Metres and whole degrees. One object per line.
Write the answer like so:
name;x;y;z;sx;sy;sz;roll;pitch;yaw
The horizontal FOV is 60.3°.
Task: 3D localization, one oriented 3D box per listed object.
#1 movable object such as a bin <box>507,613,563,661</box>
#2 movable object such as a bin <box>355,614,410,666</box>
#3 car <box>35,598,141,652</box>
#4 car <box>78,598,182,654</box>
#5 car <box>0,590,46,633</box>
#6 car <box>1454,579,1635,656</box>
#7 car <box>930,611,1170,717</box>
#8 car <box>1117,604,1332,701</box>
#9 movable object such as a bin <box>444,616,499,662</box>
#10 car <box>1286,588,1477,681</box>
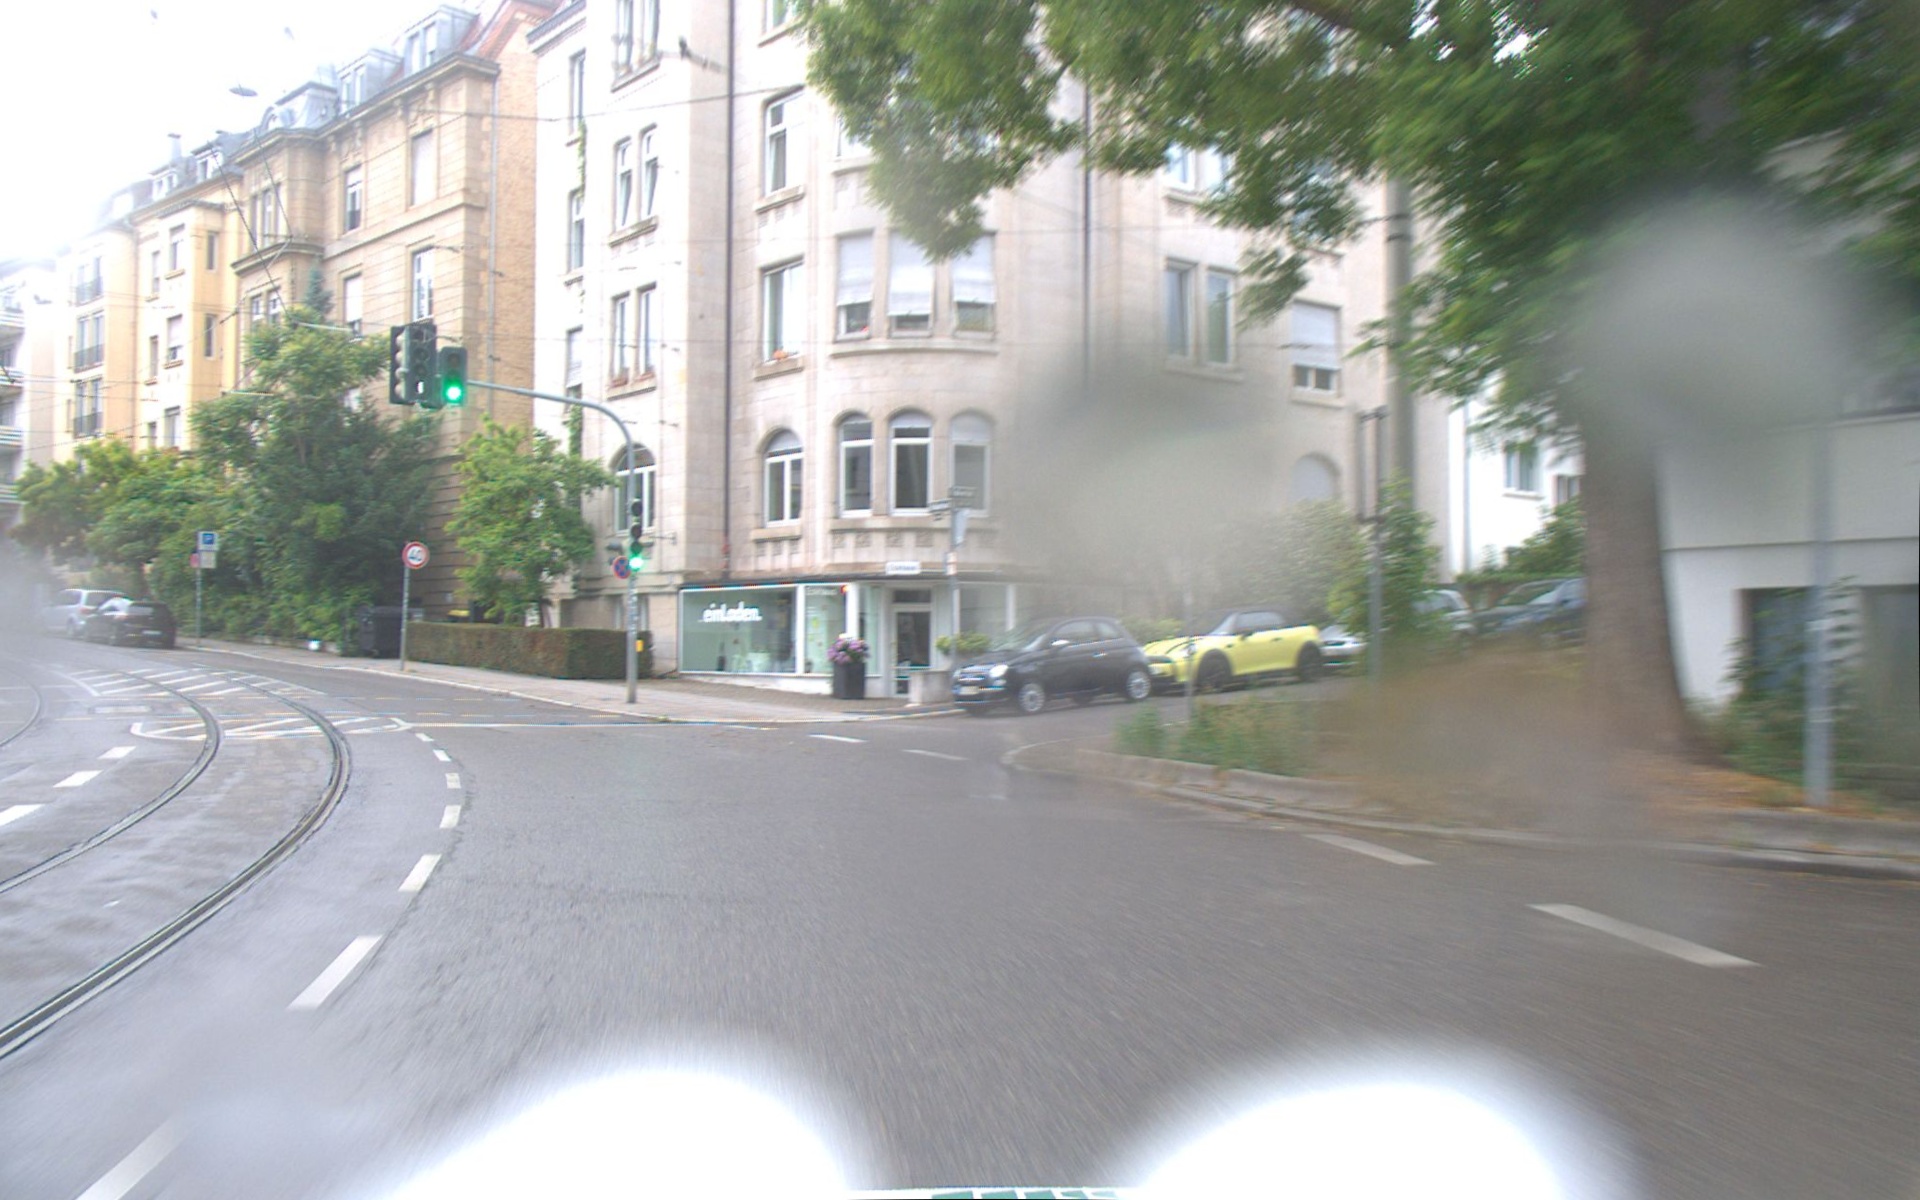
movable object such as a bin;-13.131;1.123;51.129;1.224;1.450;1.287;1;0;-43
movable object such as a bin;-16.594;1.142;47.556;0.807;1.427;1.223;3;2;39
car;-28.817;0.814;54.630;4.213;1.631;1.760;1;-1;42
car;-25.612;0.784;50.977;1.757;1.415;3.937;5;-1;-43
car;-35.114;0.373;60.663;3.777;1.462;1.715;2;-2;45
car;12.484;0.420;35.293;3.847;1.534;1.605;1;-3;-33
car;1.487;0.990;27.023;3.627;1.534;1.717;-1;0;-34
car;4.742;0.892;29.518;3.627;1.534;1.717;-1;0;-35
movable object such as a bin;-14.666;1.169;49.661;1.211;1.331;1.150;1;0;-43
car;8.196;0.650;32.068;3.736;1.534;1.601;-3;-2;-39
